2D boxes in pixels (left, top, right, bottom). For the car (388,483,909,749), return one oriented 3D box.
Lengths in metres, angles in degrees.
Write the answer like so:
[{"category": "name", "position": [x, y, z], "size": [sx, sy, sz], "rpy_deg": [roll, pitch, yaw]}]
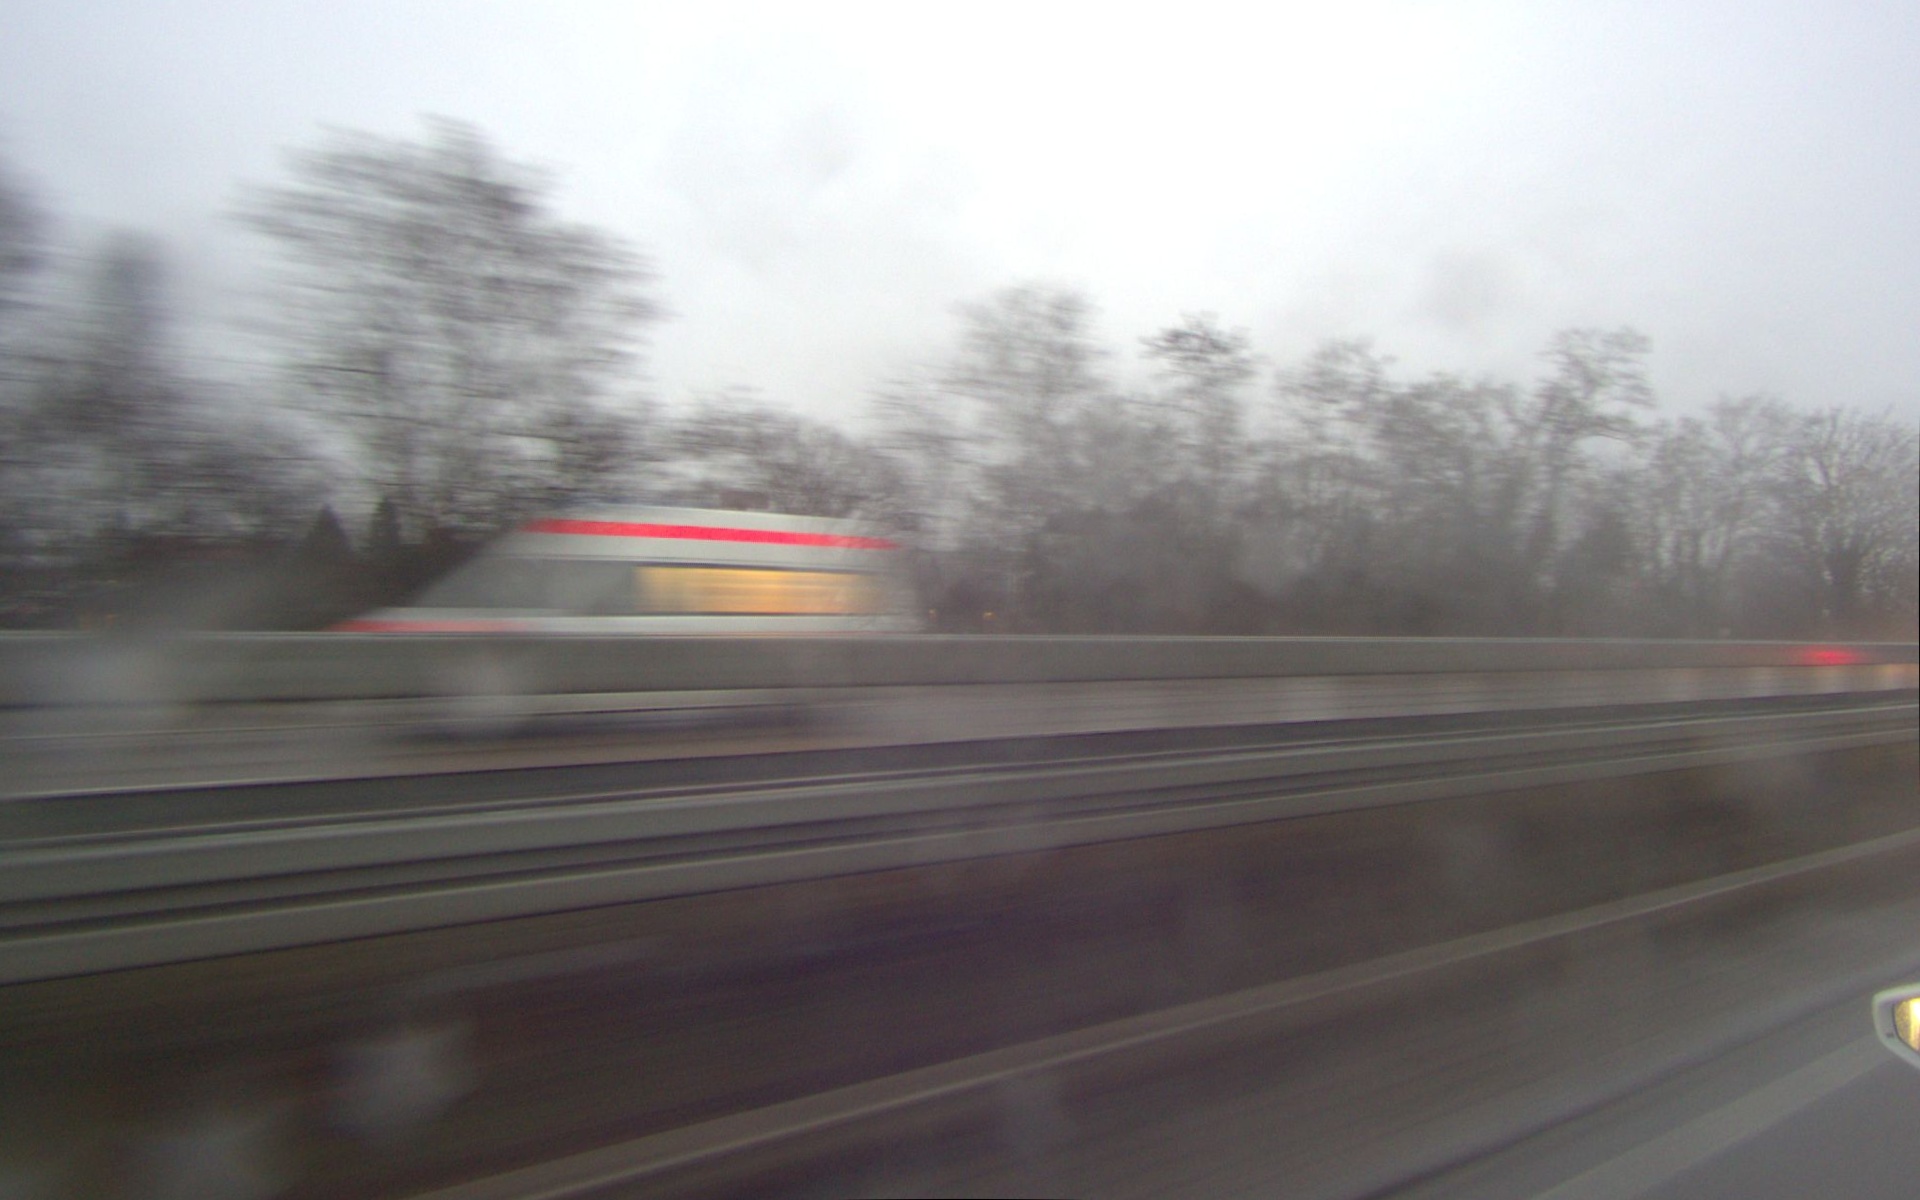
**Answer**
[{"category": "car", "position": [-3.397, 0.196, 11.453], "size": [5.351, 2.469, 1.837], "rpy_deg": [1, 0, -29]}]
